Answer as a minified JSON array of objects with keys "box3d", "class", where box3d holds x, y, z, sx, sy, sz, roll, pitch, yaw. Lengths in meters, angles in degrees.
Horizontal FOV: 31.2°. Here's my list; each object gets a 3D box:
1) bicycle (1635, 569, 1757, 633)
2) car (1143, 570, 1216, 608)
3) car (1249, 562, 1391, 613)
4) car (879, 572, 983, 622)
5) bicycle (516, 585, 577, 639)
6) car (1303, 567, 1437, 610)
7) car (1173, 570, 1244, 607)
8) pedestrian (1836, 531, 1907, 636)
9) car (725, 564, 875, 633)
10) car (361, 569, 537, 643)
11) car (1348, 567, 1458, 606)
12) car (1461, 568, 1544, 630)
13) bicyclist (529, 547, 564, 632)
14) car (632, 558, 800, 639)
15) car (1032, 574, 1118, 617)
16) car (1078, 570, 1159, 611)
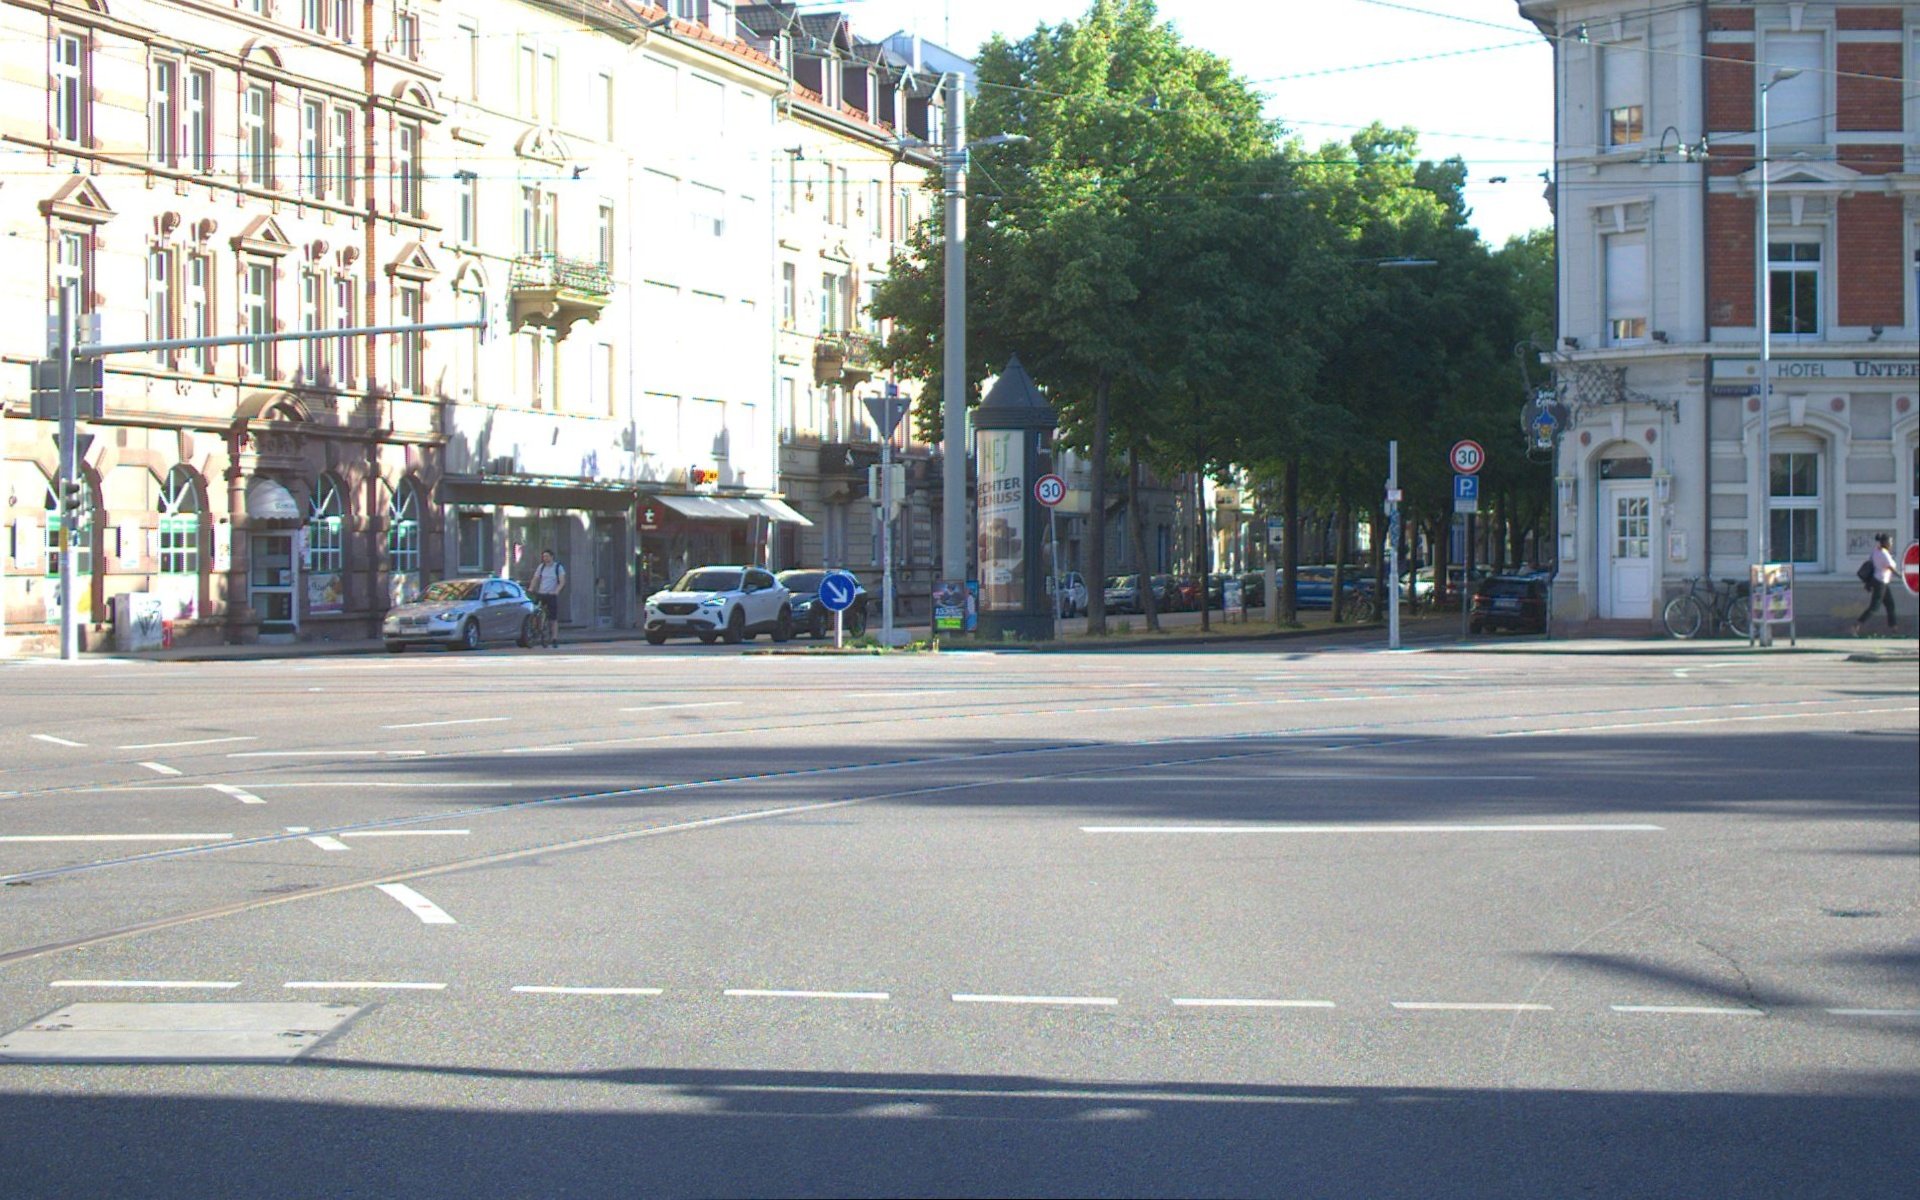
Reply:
[{"box3d":[12.272,0.021,57.345,1.953,1.050,0.715,0,1,10],"class":"bicycle"},{"box3d":[8.408,-0.425,131.410,1.995,1.400,4.166,0,1,16],"class":"car"},{"box3d":[10.450,-0.368,99.687,3.989,1.450,1.681,0,1,11],"class":"car"},{"box3d":[-0.840,-0.097,102.093,1.995,1.400,4.166,0,1,16],"class":"car"},{"box3d":[-7.845,0.229,65.304,0.655,0.997,1.664,1,1,12],"class":"bicycle"},{"box3d":[12.580,-0.355,105.396,3.989,1.284,1.694,0,1,11],"class":"car"},{"box3d":[9.886,-0.457,136.606,1.995,1.400,4.166,0,1,16],"class":"car"},{"box3d":[14.994,-0.273,56.582,1.036,1.706,0.629,1,0,9],"class":"pedestrian"},{"box3d":[-3.396,-0.044,73.647,1.995,1.400,4.166,0,1,16],"class":"car"},{"box3d":[-9.925,0.100,67.047,1.995,1.357,3.816,0,1,16],"class":"car"},{"box3d":[14.366,-0.437,111.469,3.435,1.235,1.576,0,1,11],"class":"car"},{"box3d":[13.050,-0.031,82.531,1.756,1.415,3.998,0,1,12],"class":"car"},{"box3d":[-7.837,-0.205,65.197,0.489,1.596,0.666,0,1,10],"class":"bicyclist"},{"box3d":[-4.750,-0.056,67.473,1.995,1.511,4.166,0,1,16],"class":"car"},{"box3d":[3.942,-0.157,116.863,1.995,1.400,4.166,0,1,16],"class":"car"},{"box3d":[5.655,-0.346,122.582,1.995,1.400,4.166,0,1,16],"class":"car"}]
